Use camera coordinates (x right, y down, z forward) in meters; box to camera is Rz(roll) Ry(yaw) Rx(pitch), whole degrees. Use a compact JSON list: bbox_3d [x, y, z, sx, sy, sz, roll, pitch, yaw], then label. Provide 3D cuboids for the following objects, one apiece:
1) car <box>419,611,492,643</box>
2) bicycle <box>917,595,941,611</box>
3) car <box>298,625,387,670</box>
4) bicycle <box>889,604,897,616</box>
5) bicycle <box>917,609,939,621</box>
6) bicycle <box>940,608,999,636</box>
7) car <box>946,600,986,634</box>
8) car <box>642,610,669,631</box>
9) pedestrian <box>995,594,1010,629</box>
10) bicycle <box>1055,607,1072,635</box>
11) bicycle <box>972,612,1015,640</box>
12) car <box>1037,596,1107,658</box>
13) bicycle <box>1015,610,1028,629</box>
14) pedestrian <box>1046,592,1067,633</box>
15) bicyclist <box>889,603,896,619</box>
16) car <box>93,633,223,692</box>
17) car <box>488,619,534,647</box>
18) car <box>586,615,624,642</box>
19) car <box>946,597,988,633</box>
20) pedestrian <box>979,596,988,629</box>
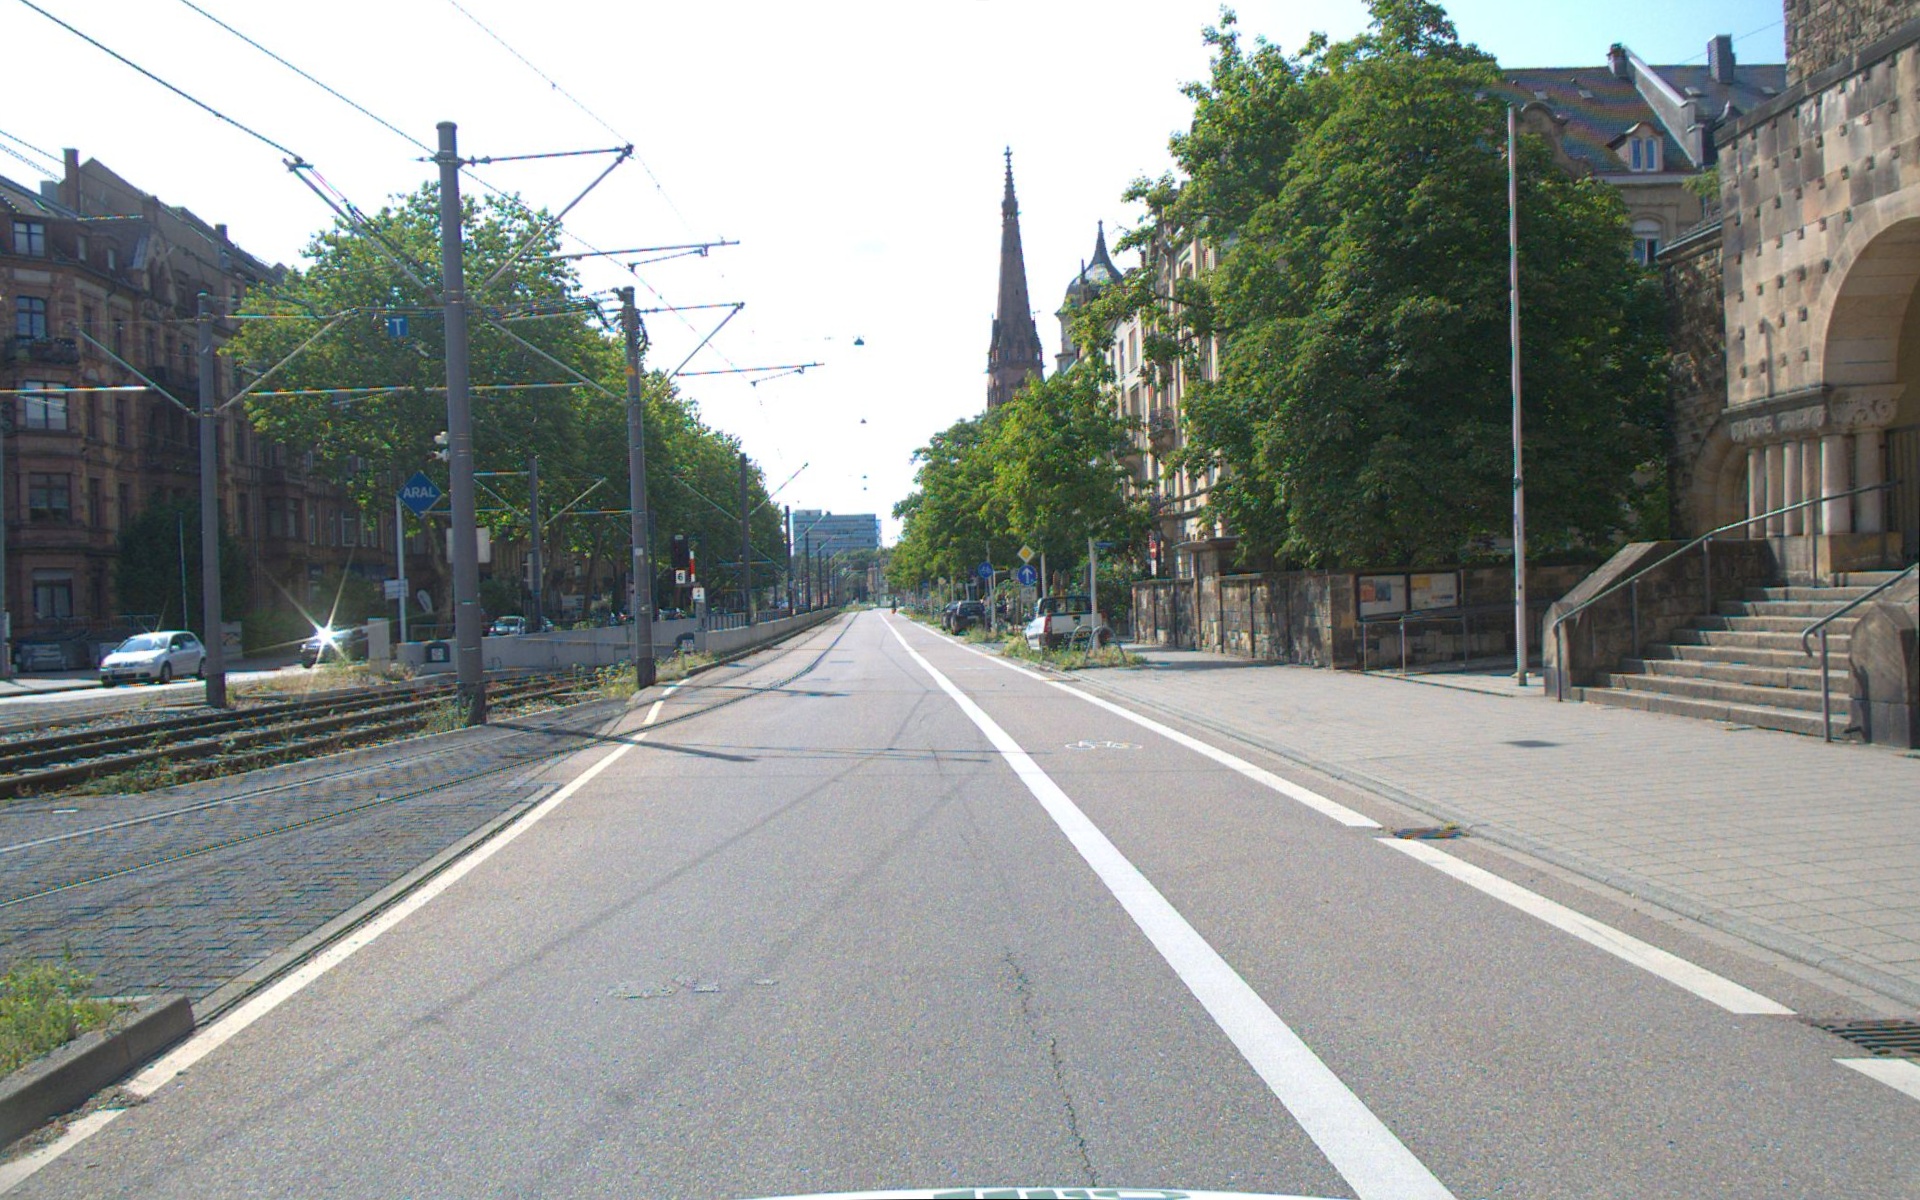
[{"bbox_3d":[-33.847,1.812,111.081,4.316,1.952,1.998,-2,0,-5],"label":"car"},{"bbox_3d":[-2.501,0.257,133.151,1.786,1.165,0.649,-5,0,-15],"label":"bicycle"},{"bbox_3d":[-22.289,1.689,59.810,1.634,1.441,3.783,-2,0,2],"label":"car"},{"bbox_3d":[-7.184,1.029,176.540,0.783,1.258,2.776,-2,0,-3],"label":"bicycle"},{"bbox_3d":[-2.819,1.349,145.785,1.782,0.918,0.650,-4,0,-7],"label":"bicycle"},{"bbox_3d":[0.482,1.111,83.627,2.899,1.268,0.789,-2,0,-16],"label":"bicycle"},{"bbox_3d":[0.307,0.741,74.364,1.634,1.441,3.586,-2,0,2],"label":"car"},{"bbox_3d":[-28.344,1.907,154.037,1.803,1.757,3.997,-5,0,-3],"label":"car"},{"bbox_3d":[2.292,0.604,89.895,0.656,1.835,0.319,-4,0,-5],"label":"pedestrian"},{"bbox_3d":[4.249,0.846,67.756,0.460,1.127,1.710,-2,0,-3],"label":"bicycle"},{"bbox_3d":[1.372,1.078,68.077,1.674,1.088,0.470,-2,0,-9],"label":"bicycle"},{"bbox_3d":[2.809,0.635,40.975,1.633,1.441,3.846,0,0,5],"label":"car"},{"bbox_3d":[3.182,1.007,85.680,0.419,0.956,1.806,-5,0,-3],"label":"bicycle"},{"bbox_3d":[3.934,0.507,67.469,0.709,1.657,0.724,-2,0,-3],"label":"pedestrian"},{"bbox_3d":[-7.191,1.168,176.655,0.755,1.760,1.026,-2,0,-3],"label":"bicyclist"},{"bbox_3d":[-23.297,1.771,48.250,1.687,1.441,4.403,-3,0,-2],"label":"car"},{"bbox_3d":[-24.173,1.764,89.132,1.467,1.325,3.490,-5,0,-1],"label":"car"},{"bbox_3d":[-26.073,2.088,121.598,1.682,1.720,3.731,-4,1,3],"label":"car"},{"bbox_3d":[0.289,0.672,77.111,1.652,1.528,4.705,-2,0,-3],"label":"car"},{"bbox_3d":[1.259,0.694,89.017,0.311,1.736,0.461,-4,0,11],"label":"pedestrian"}]
